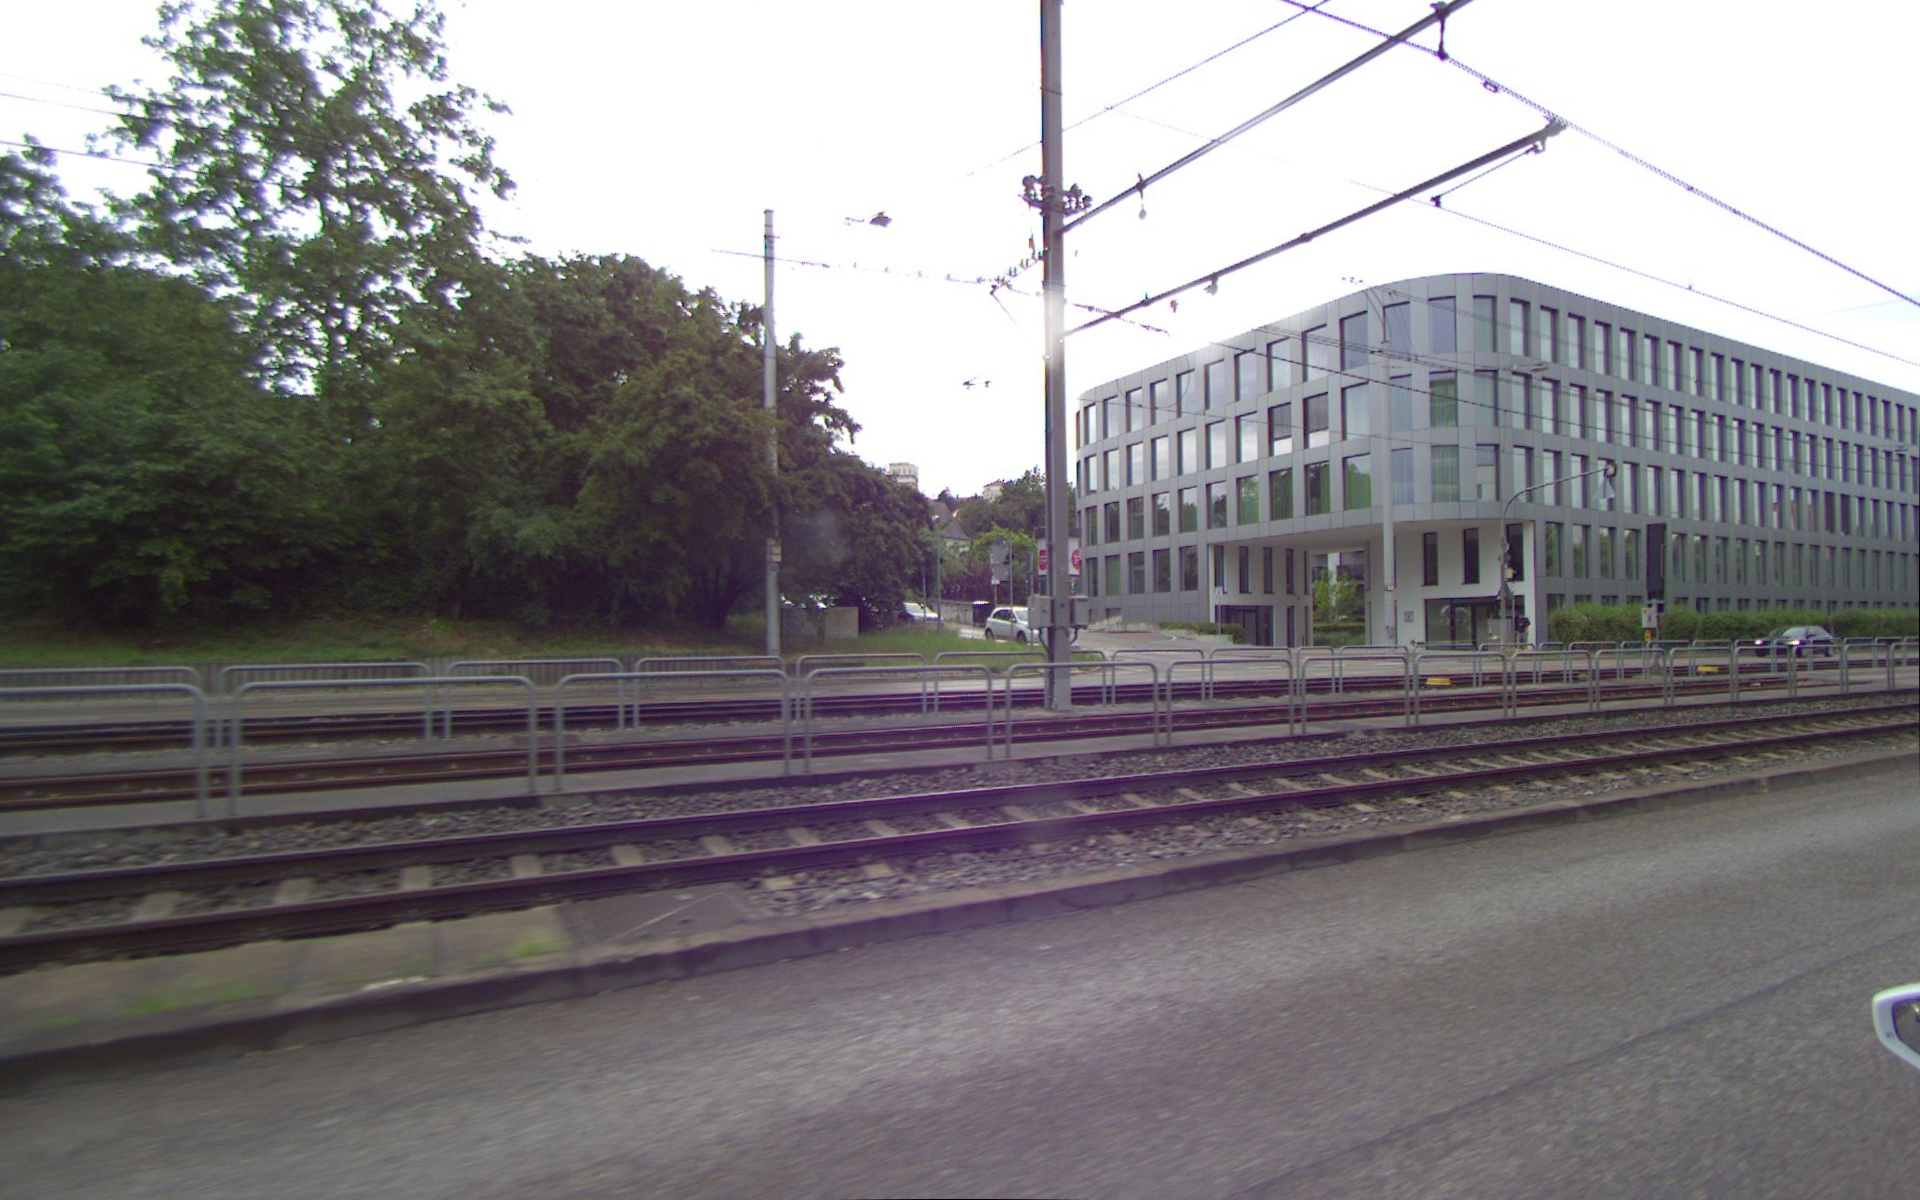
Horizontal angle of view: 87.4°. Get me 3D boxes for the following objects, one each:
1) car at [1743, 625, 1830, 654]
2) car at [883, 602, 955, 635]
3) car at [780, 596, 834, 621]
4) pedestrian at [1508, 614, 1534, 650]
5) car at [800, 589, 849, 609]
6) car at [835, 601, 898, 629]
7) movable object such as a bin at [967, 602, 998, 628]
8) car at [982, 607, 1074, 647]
[{"bbox_3d":[36.992,1.756,44.931,3.940,1.260,1.748,1,-2,-30],"label":"car"},{"bbox_3d":[-2.096,0.896,50.467,1.852,1.472,4.052,1,1,-31],"label":"car"},{"bbox_3d":[-9.796,0.527,64.255,1.924,1.494,4.233,1,1,-31],"label":"car"},{"bbox_3d":[26.055,1.481,46.671,0.835,1.669,0.721,1,-1,-29],"label":"pedestrian"},{"bbox_3d":[-11.022,-0.054,81.823,1.910,1.510,4.020,2,1,28],"label":"car"},{"bbox_3d":[-5.197,0.815,55.442,1.852,1.429,4.052,1,1,-31],"label":"car"},{"bbox_3d":[1.311,0.872,58.030,1.261,1.414,1.258,1,1,-37],"label":"movable object such as a bin"},{"bbox_3d":[2.762,1.079,41.513,1.904,1.472,3.898,1,1,-31],"label":"car"}]
